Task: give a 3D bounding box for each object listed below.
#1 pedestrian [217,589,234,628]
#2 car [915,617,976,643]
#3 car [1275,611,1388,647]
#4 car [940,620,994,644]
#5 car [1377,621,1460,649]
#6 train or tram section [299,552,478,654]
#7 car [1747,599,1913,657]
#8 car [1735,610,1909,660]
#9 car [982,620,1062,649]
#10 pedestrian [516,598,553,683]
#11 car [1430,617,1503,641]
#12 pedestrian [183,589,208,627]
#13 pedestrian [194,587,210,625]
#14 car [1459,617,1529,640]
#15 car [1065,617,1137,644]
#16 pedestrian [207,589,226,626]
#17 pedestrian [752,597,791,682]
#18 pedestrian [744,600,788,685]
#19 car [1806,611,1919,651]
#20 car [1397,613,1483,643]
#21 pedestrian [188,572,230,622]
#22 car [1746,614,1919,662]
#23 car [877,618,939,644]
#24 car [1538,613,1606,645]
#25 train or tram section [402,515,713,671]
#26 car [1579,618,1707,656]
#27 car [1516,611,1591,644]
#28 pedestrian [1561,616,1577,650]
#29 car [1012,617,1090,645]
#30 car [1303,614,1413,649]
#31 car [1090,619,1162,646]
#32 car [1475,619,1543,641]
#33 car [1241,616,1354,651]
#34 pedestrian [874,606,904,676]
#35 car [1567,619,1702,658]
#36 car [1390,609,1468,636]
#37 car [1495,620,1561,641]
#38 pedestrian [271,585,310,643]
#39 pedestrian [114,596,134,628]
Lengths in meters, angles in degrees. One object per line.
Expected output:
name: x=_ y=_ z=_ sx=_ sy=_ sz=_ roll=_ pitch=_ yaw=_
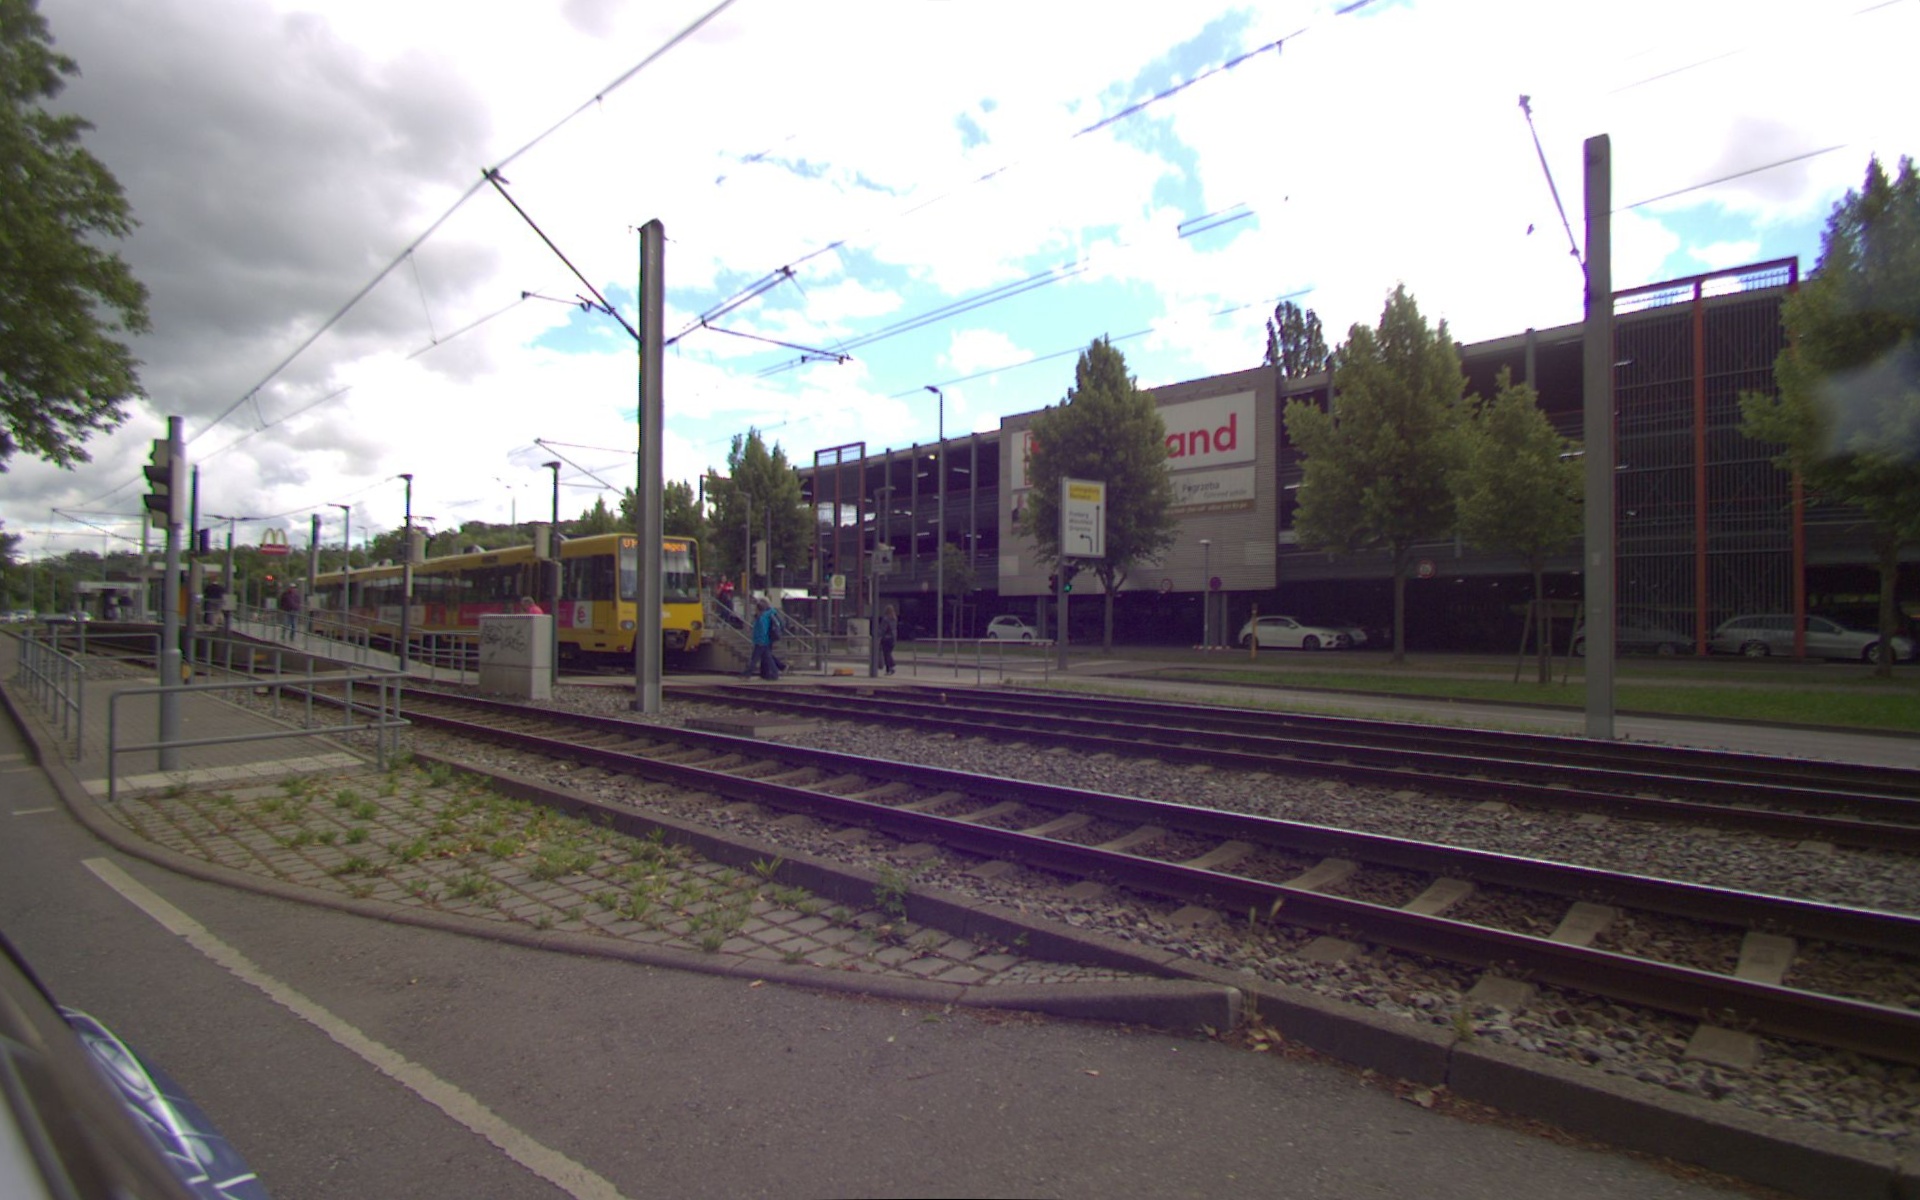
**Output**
pedestrian: x=-29.142 y=0.346 z=40.174 sx=0.469 sy=1.494 sz=0.544 roll=3 pitch=-3 yaw=-35
car: x=-0.931 y=1.880 z=64.204 sx=1.704 sy=1.526 sz=3.798 roll=4 pitch=-3 yaw=-45
car: x=15.914 y=1.228 z=43.528 sx=4.200 sy=1.443 sz=1.820 roll=-1 pitch=-2 yaw=45
car: x=0.445 y=2.080 z=65.923 sx=3.393 sy=1.523 sz=1.541 roll=-1 pitch=-3 yaw=44
car: x=21.373 y=1.631 z=47.244 sx=1.421 sy=1.233 sz=3.219 roll=4 pitch=-3 yaw=-44
train or tram section: x=-26.733 y=0.277 z=46.444 sx=2.724 sy=3.912 sz=18.648 roll=1 pitch=-2 yaw=-43
car: x=28.861 y=0.915 z=33.646 sx=4.055 sy=1.828 sz=1.820 roll=-1 pitch=-2 yaw=45
car: x=26.993 y=1.088 z=31.767 sx=4.055 sy=1.443 sz=1.820 roll=-1 pitch=-3 yaw=45
car: x=3.181 y=1.755 z=52.548 sx=1.757 sy=1.409 sz=4.003 roll=4 pitch=-3 yaw=-44
pedestrian: x=-8.602 y=0.817 z=20.470 sx=0.604 sy=1.666 sz=0.798 roll=3 pitch=-3 yaw=-24
car: x=27.914 y=1.594 z=55.817 sx=1.515 sy=1.280 sz=3.303 roll=1 pitch=-2 yaw=-43
pedestrian: x=-30.517 y=0.329 z=40.422 sx=0.513 sy=1.494 sz=0.582 roll=2 pitch=-3 yaw=-7
pedestrian: x=-29.873 y=0.250 z=39.878 sx=0.639 sy=1.476 sz=0.356 roll=-1 pitch=-2 yaw=44
car: x=29.904 y=1.582 z=56.750 sx=1.421 sy=1.233 sz=3.219 roll=4 pitch=-3 yaw=-44
car: x=8.043 y=1.729 z=58.046 sx=1.734 sy=1.526 sz=3.871 roll=1 pitch=-2 yaw=-45
pedestrian: x=-29.061 y=0.291 z=39.578 sx=0.411 sy=1.416 sz=0.473 roll=-1 pitch=-4 yaw=44
pedestrian: x=-3.943 y=0.825 z=21.129 sx=0.645 sy=1.711 sz=0.731 roll=2 pitch=-3 yaw=-20
pedestrian: x=-3.871 y=0.844 z=20.183 sx=0.702 sy=1.623 sz=0.944 roll=2 pitch=-3 yaw=-17
car: x=37.861 y=1.280 z=42.052 sx=1.793 sy=1.587 sz=4.002 roll=1 pitch=-2 yaw=-45
car: x=24.723 y=1.429 z=52.168 sx=1.691 sy=1.513 sz=3.657 roll=1 pitch=-2 yaw=-43
pedestrian: x=-26.240 y=-0.093 z=35.358 sx=0.735 sy=1.691 sz=0.876 roll=2 pitch=-3 yaw=-1
car: x=25.618 y=1.084 z=29.542 sx=4.073 sy=1.315 sz=1.617 roll=-1 pitch=-2 yaw=44
car: x=-3.217 y=1.915 z=62.617 sx=1.704 sy=1.526 sz=3.798 roll=4 pitch=-3 yaw=-45
car: x=40.788 y=1.935 z=67.440 sx=1.819 sy=2.029 sz=3.534 roll=4 pitch=-3 yaw=-43
train or tram section: x=-13.945 y=-0.013 z=32.831 sx=2.724 sy=3.858 sz=18.649 roll=1 pitch=-2 yaw=-43
car: x=23.667 y=1.262 z=35.135 sx=1.421 sy=1.233 sz=3.477 roll=4 pitch=-3 yaw=-44
car: x=38.493 y=1.796 z=65.687 sx=1.936 sy=2.029 sz=3.857 roll=4 pitch=-3 yaw=-43
pedestrian: x=36.476 y=1.959 z=60.606 sx=0.729 sy=2.029 sz=0.515 roll=-1 pitch=-3 yaw=43
car: x=4.861 y=1.667 z=54.227 sx=1.757 sy=1.414 sz=4.003 roll=4 pitch=-3 yaw=-44
car: x=17.706 y=1.399 z=45.137 sx=4.200 sy=1.443 sz=1.820 roll=-1 pitch=-3 yaw=45
car: x=9.784 y=1.926 z=59.826 sx=1.734 sy=1.526 sz=3.872 roll=4 pitch=-3 yaw=-45
car: x=31.924 y=1.731 z=58.918 sx=1.421 sy=1.233 sz=3.219 roll=4 pitch=-3 yaw=-44
car: x=13.756 y=1.352 z=41.385 sx=4.073 sy=1.334 sz=1.617 roll=-1 pitch=-2 yaw=44
pedestrian: x=-1.735 y=1.004 z=24.692 sx=0.509 sy=1.675 sz=0.467 roll=3 pitch=-3 yaw=-34
car: x=22.109 y=1.232 z=33.249 sx=1.421 sy=1.233 sz=3.477 roll=1 pitch=-2 yaw=-43
car: x=23.133 y=1.103 z=49.945 sx=1.421 sy=1.233 sz=3.219 roll=4 pitch=-3 yaw=-44
car: x=34.645 y=1.865 z=61.751 sx=1.421 sy=1.233 sz=3.219 roll=4 pitch=-3 yaw=-44
pedestrian: x=-20.113 y=0.434 z=30.390 sx=0.791 sy=1.691 sz=0.762 roll=-1 pitch=-4 yaw=45
pedestrian: x=-47.563 y=0.672 z=57.583 sx=0.937 sy=1.757 sz=0.740 roll=-1 pitch=-4 yaw=45
